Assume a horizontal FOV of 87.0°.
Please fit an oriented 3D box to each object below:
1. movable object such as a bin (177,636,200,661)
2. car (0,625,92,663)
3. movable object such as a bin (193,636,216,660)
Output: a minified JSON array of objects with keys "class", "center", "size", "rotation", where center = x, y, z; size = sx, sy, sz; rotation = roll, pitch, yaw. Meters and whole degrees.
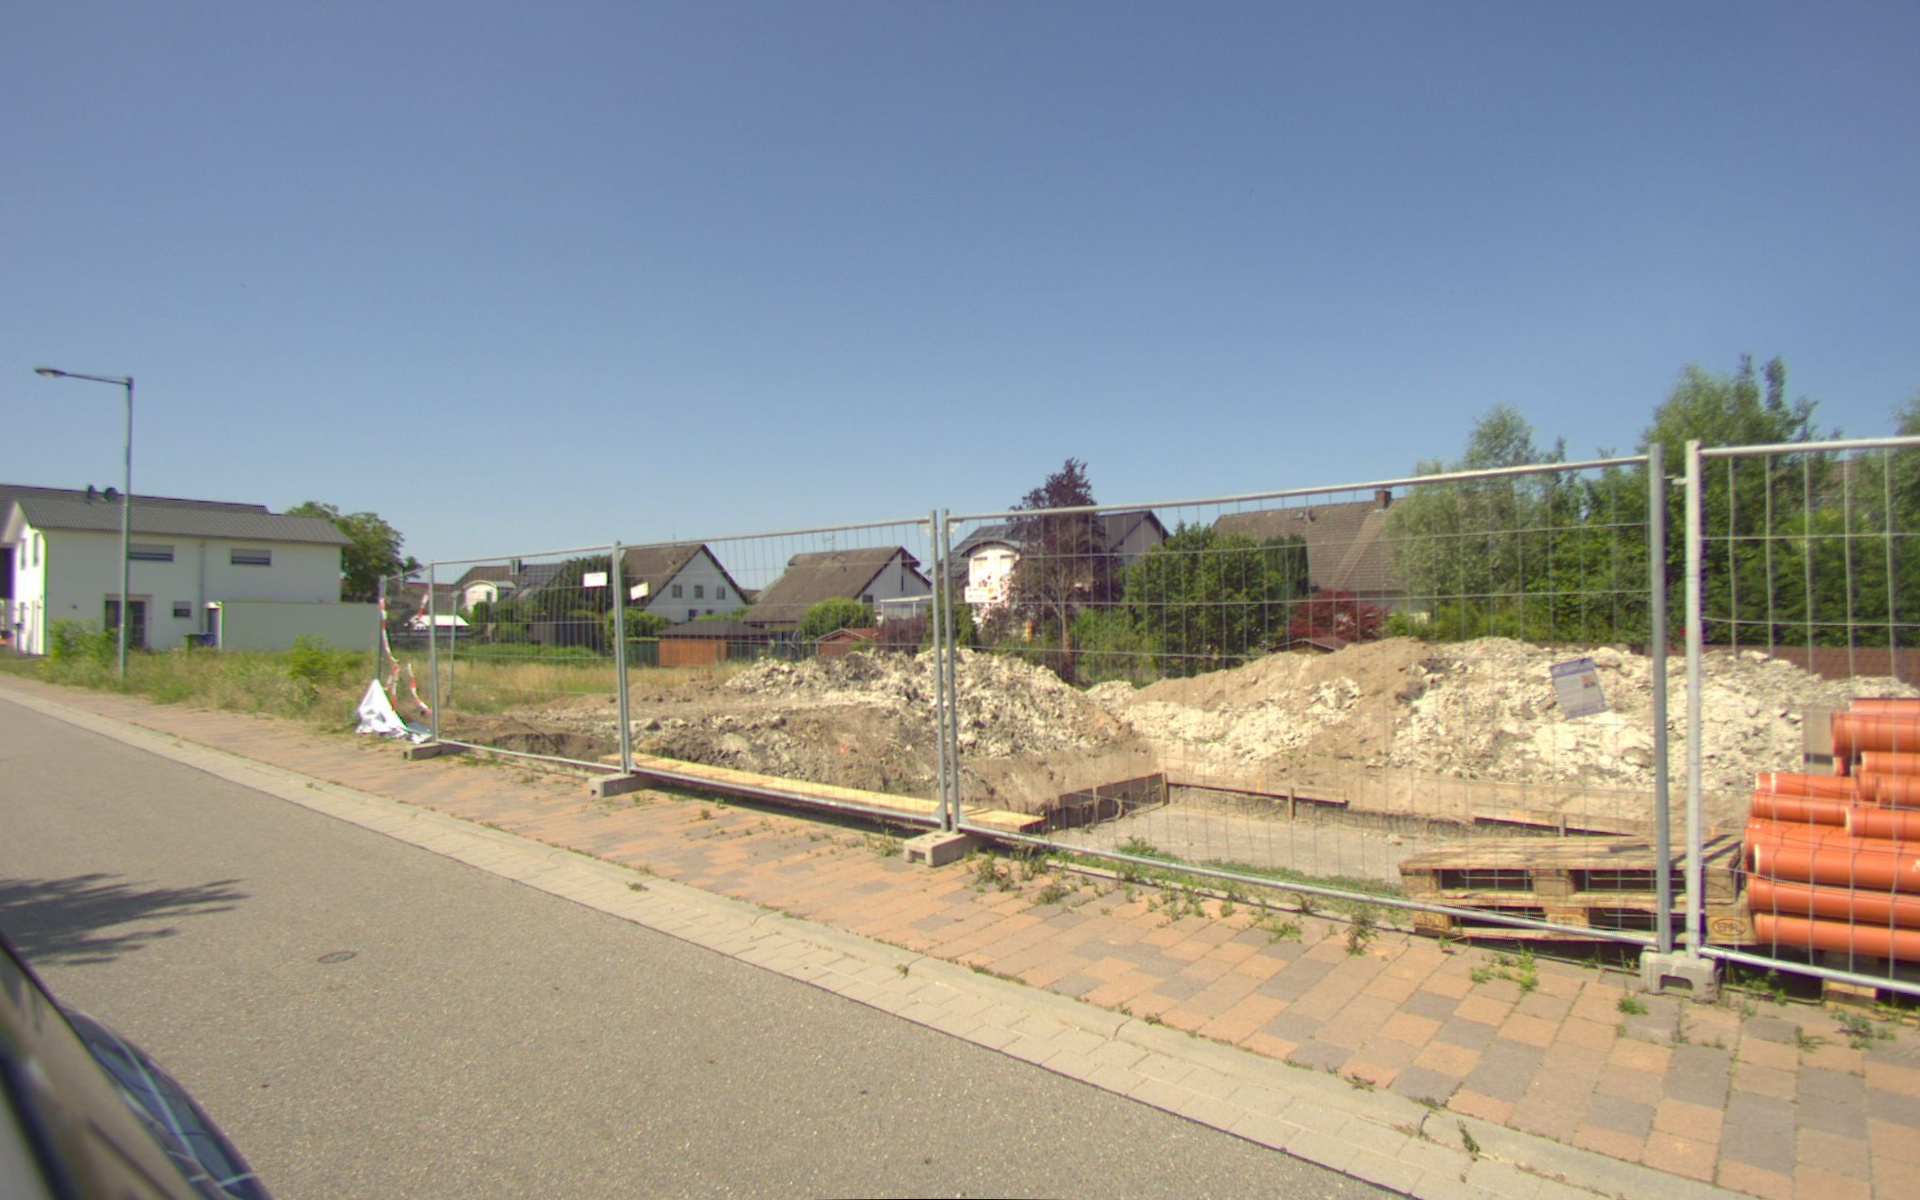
[{"class":"movable object such as a bin","center":[-35.026,2.191,45.941],"size":[0.784,1.107,0.653],"rotation":[-2,-3,40]},{"class":"car","center":[-47.382,2.232,51.411],"size":[1.935,1.889,4.691],"rotation":[-1,-2,37]},{"class":"movable object such as a bin","center":[-34.724,2.204,46.498],"size":[0.807,1.107,0.663],"rotation":[-2,-3,41]}]
